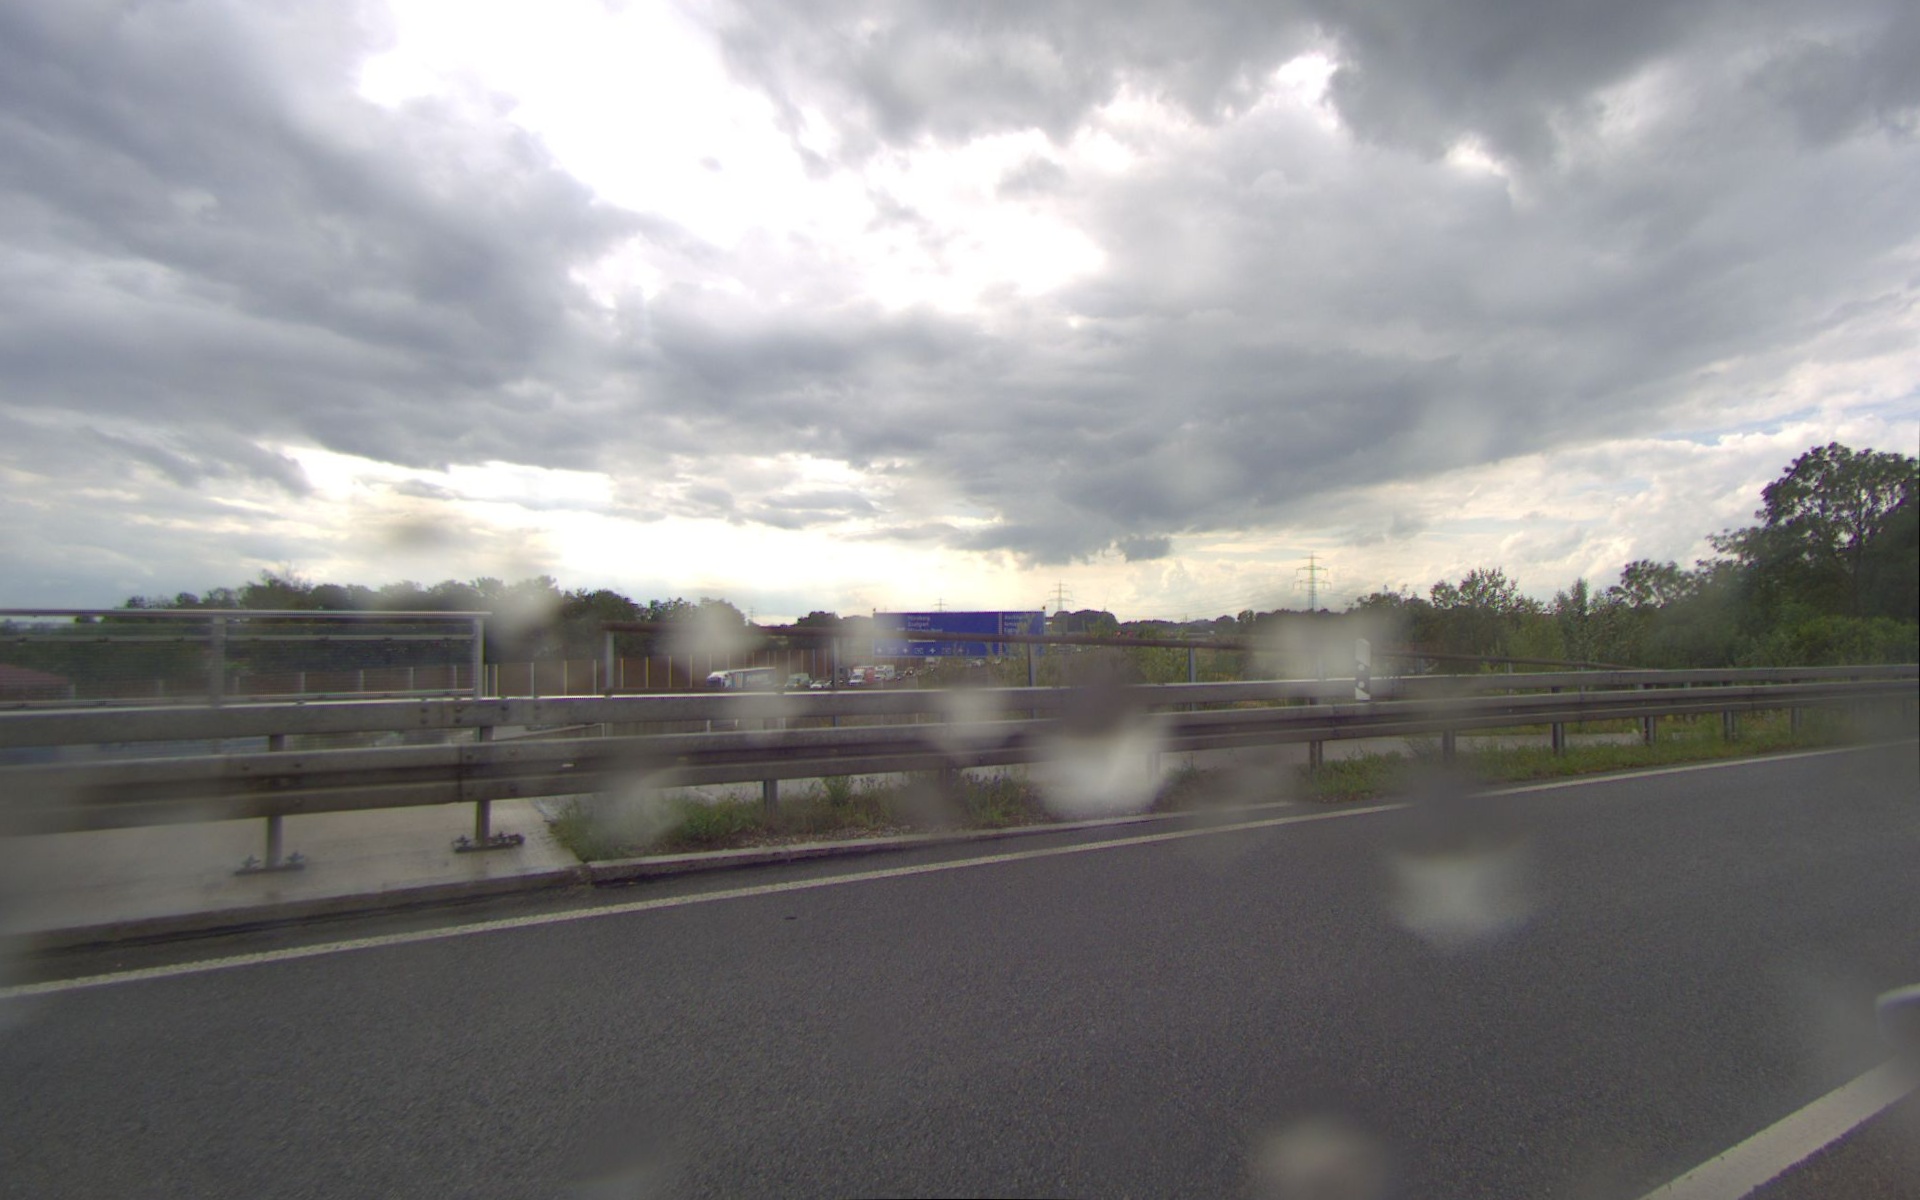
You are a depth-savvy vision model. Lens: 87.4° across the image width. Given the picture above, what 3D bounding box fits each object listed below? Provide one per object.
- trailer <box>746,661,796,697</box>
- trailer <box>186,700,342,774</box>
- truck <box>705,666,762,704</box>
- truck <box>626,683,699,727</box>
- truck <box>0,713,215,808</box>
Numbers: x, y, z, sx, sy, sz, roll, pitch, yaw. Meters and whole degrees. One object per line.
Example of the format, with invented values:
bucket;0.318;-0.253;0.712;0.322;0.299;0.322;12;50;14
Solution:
trailer;-27.346;11.371;145.712;2.388;4.250;11.174;1;0;16
trailer;-47.527;9.219;69.039;2.388;3.812;9.462;1;0;16
truck;-30.331;11.307;134.986;2.388;4.250;11.174;1;0;16
truck;-33.734;11.869;114.639;2.388;3.812;11.174;1;0;16
truck;-50.288;9.160;59.126;2.388;3.812;11.174;1;0;16
